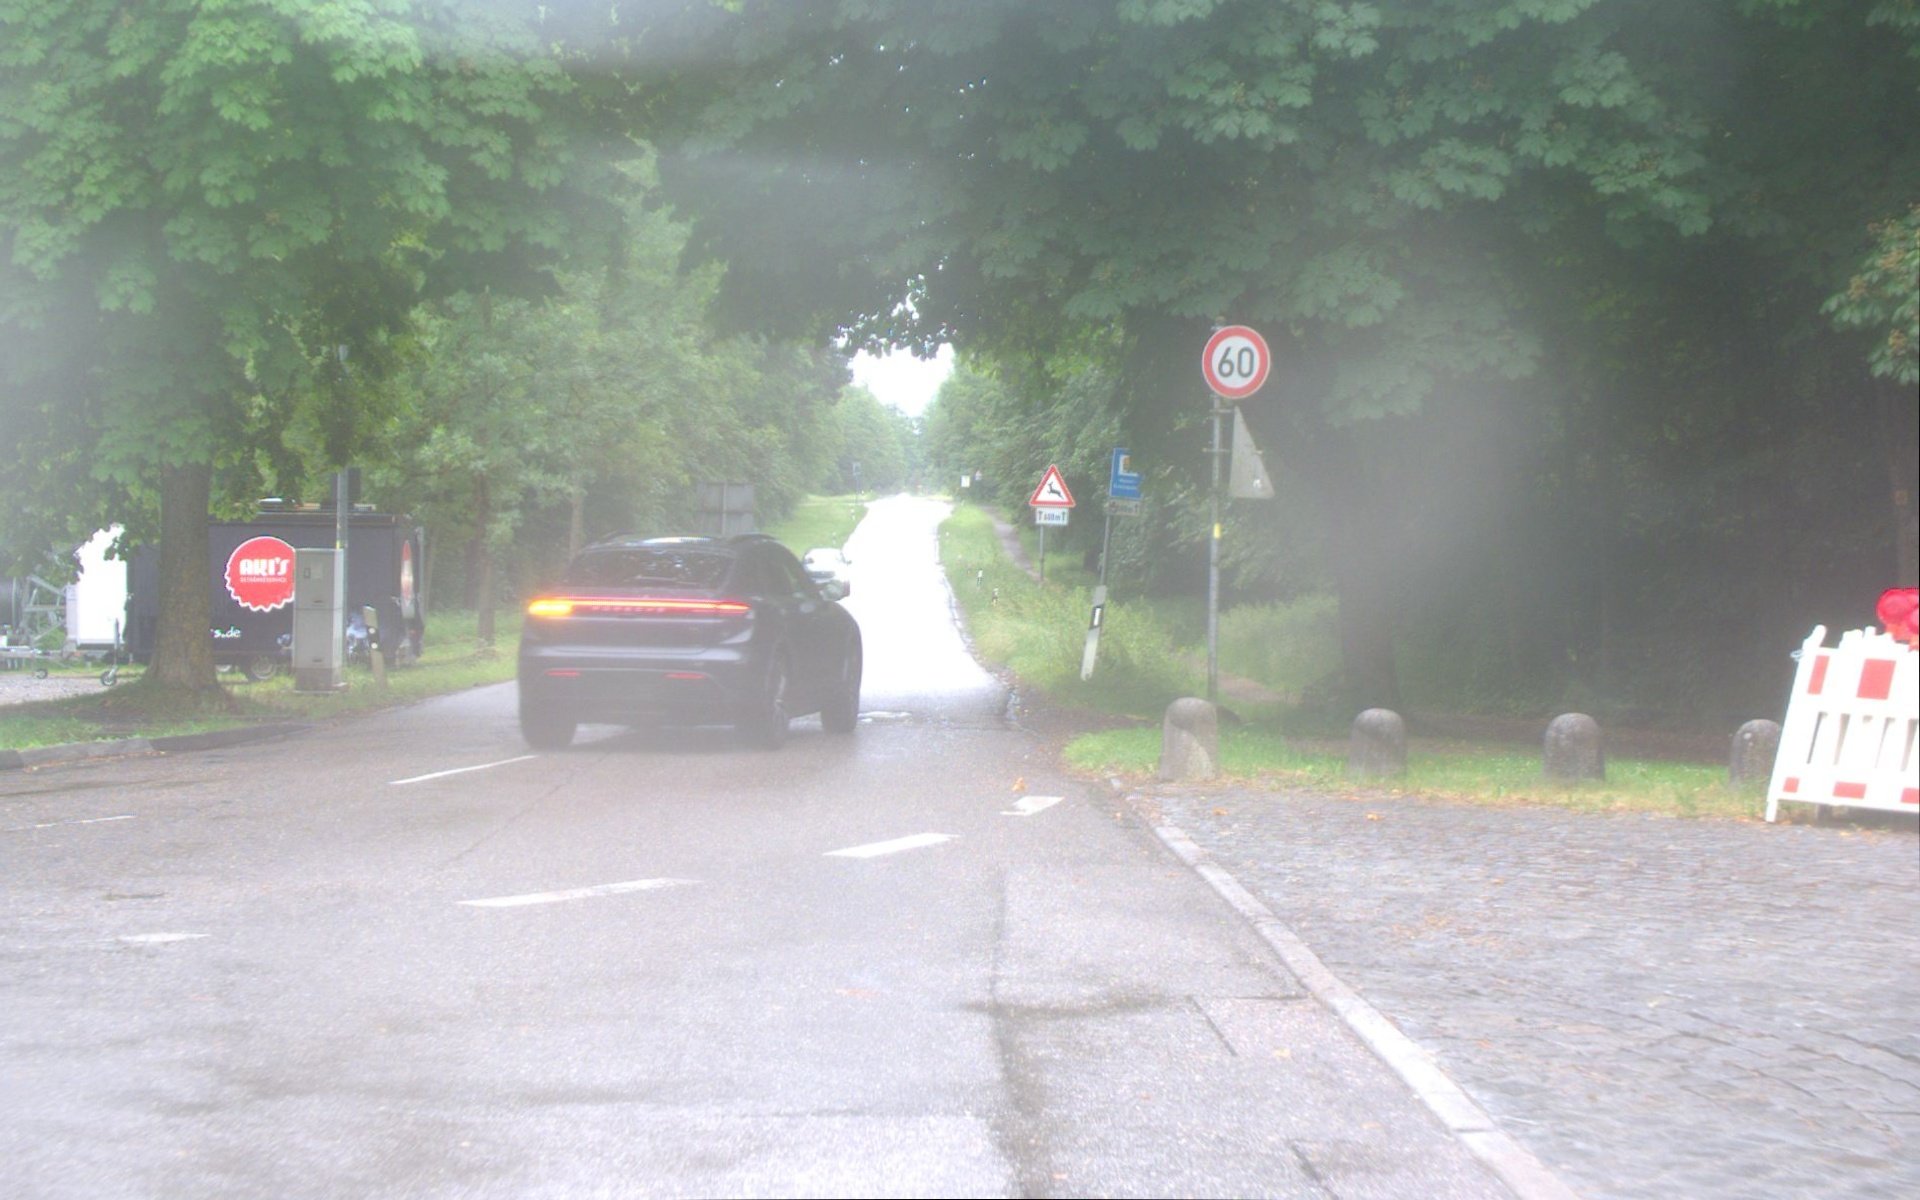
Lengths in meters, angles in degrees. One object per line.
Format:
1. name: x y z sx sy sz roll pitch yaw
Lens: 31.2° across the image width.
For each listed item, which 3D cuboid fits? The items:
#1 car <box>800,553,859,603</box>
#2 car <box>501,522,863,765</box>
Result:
1. car: -4.607 -0.796 121.797 1.993 1.711 4.000 0 1 -1
2. car: -2.060 0.263 26.879 1.726 1.703 4.573 -1 2 10
